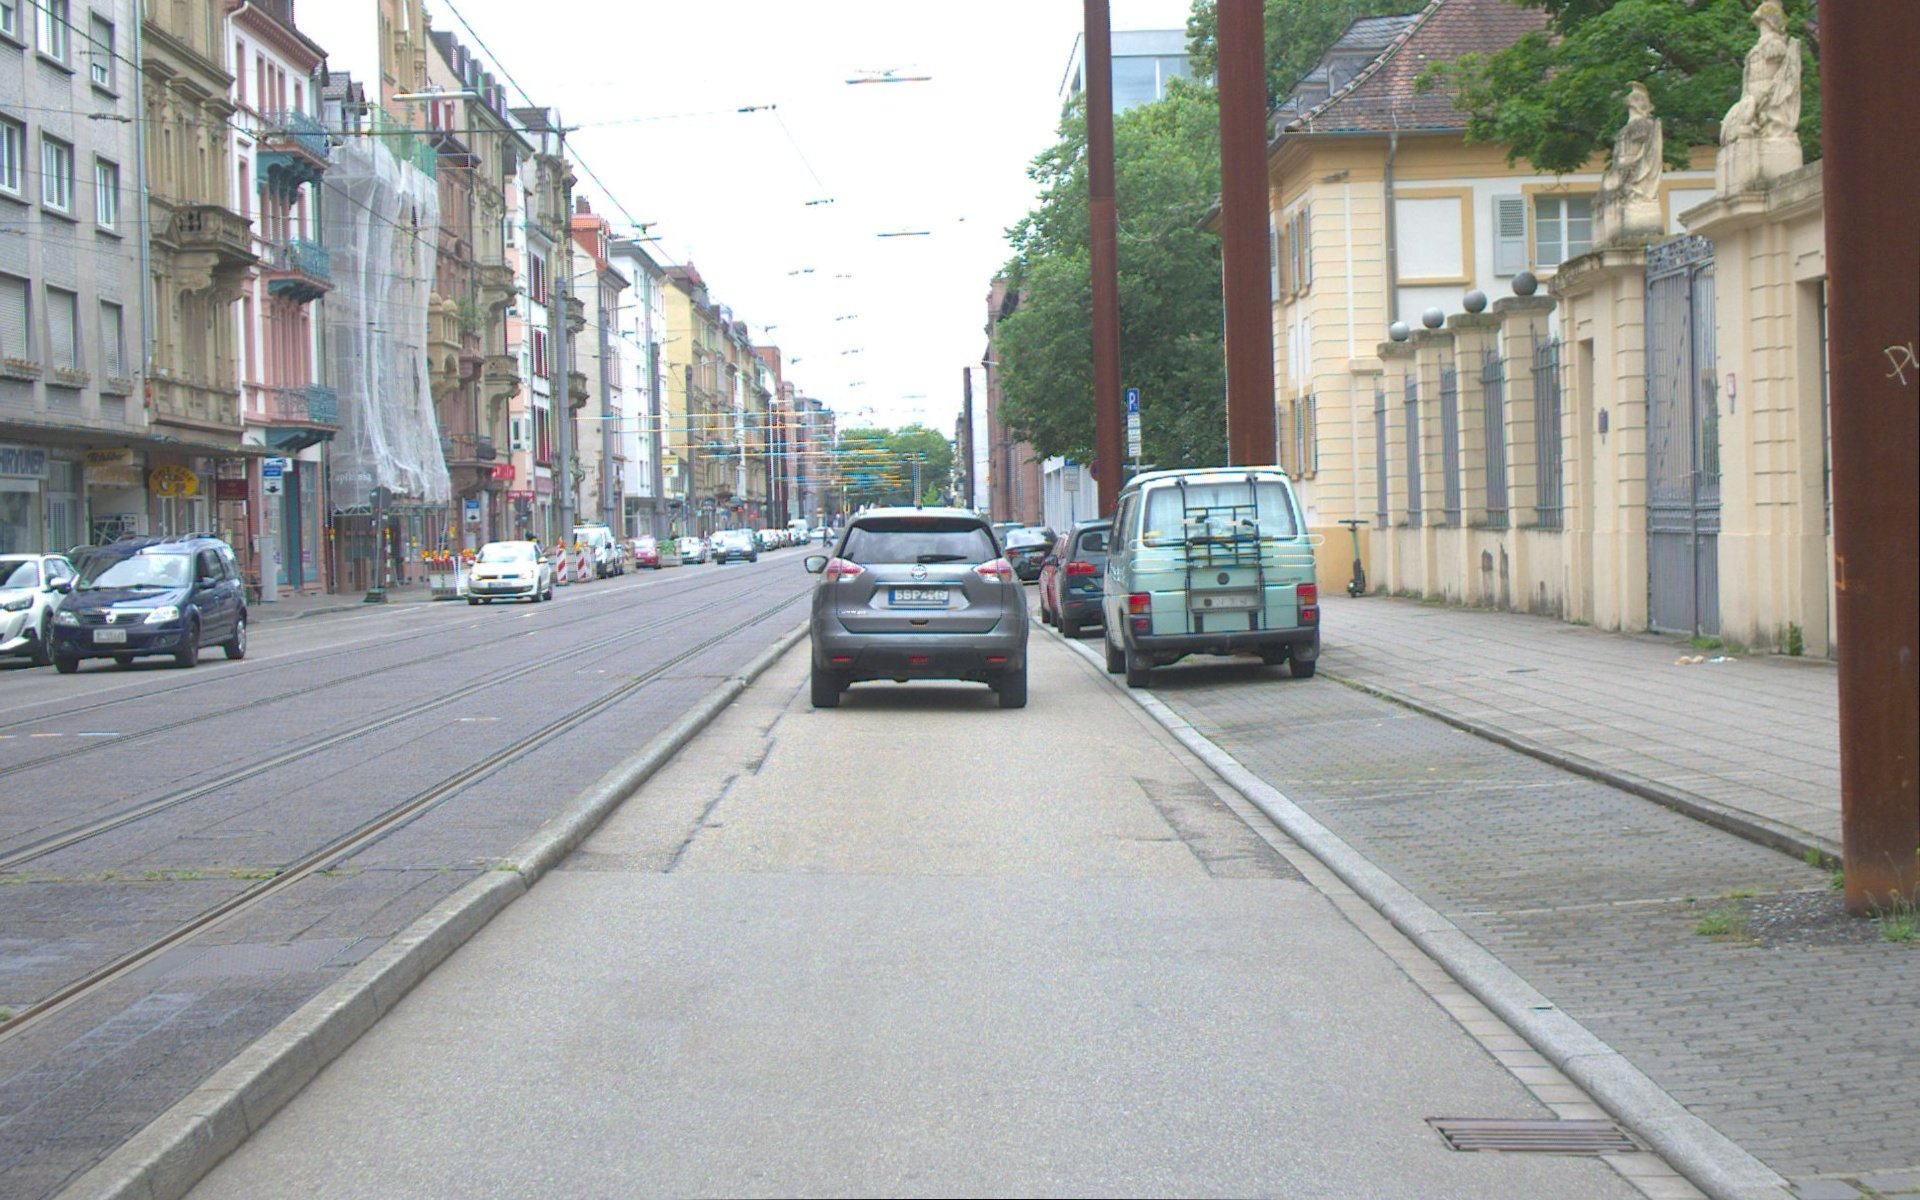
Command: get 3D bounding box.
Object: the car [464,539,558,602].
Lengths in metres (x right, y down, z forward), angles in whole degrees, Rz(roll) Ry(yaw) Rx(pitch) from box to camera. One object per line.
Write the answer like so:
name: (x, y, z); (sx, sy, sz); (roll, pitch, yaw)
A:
car: (-10.557, -0.717, 81.055); (1.687, 1.415, 4.135); (-1, 1, -1)

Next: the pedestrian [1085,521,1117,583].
pedestrian: (4.328, -1.458, 105.454); (0.910, 1.880, 0.846); (-1, 0, -1)

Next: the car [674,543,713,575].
car: (-14.264, -2.181, 184.006); (1.993, 1.629, 4.000); (-1, 0, -4)

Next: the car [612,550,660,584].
car: (-14.421, -1.455, 153.004); (1.993, 1.459, 4.000); (-1, 0, -4)

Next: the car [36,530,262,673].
car: (-10.190, -0.026, 43.511); (1.759, 1.666, 4.614); (-1, 1, 0)

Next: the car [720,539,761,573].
car: (-10.830, -2.150, 169.465); (1.993, 1.629, 4.000); (-1, 0, -4)

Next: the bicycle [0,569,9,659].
bicycle: (-13.178, 0.200, 43.326); (2.230, 1.122, 0.504); (-2, 1, -8)

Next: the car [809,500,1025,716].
car: (-0.377, 0.027, 29.925); (1.749, 1.750, 3.924); (0, 1, -1)

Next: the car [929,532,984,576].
car: (-0.132, -1.541, 114.901); (1.776, 1.415, 4.135); (-1, 1, -1)

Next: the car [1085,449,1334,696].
car: (2.347, -0.299, 33.515); (1.851, 2.108, 4.985); (-4, 1, -1)

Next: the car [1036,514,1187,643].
car: (2.053, -0.320, 47.571); (1.749, 1.590, 3.924); (-4, 1, -1)

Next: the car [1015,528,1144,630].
car: (1.850, -0.356, 54.331); (1.749, 1.436, 3.924); (-4, 1, -1)

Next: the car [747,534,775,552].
car: (-14.997, -4.259, 259.007); (1.993, 1.262, 4.000); (-1, 0, -4)

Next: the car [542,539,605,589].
car: (-13.750, -1.261, 122.516); (1.993, 1.700, 4.000); (-1, 0, -4)

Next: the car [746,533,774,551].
car: (-14.715, -4.250, 252.701); (1.993, 1.262, 4.000); (-1, 0, -4)

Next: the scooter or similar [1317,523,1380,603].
scooter or similar: (6.228, -0.584, 55.243); (0.747, 1.246, 1.919); (-1, 0, -1)

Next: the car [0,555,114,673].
car: (-12.994, 0.165, 47.024); (1.776, 1.499, 4.402); (-1, 1, -1)
